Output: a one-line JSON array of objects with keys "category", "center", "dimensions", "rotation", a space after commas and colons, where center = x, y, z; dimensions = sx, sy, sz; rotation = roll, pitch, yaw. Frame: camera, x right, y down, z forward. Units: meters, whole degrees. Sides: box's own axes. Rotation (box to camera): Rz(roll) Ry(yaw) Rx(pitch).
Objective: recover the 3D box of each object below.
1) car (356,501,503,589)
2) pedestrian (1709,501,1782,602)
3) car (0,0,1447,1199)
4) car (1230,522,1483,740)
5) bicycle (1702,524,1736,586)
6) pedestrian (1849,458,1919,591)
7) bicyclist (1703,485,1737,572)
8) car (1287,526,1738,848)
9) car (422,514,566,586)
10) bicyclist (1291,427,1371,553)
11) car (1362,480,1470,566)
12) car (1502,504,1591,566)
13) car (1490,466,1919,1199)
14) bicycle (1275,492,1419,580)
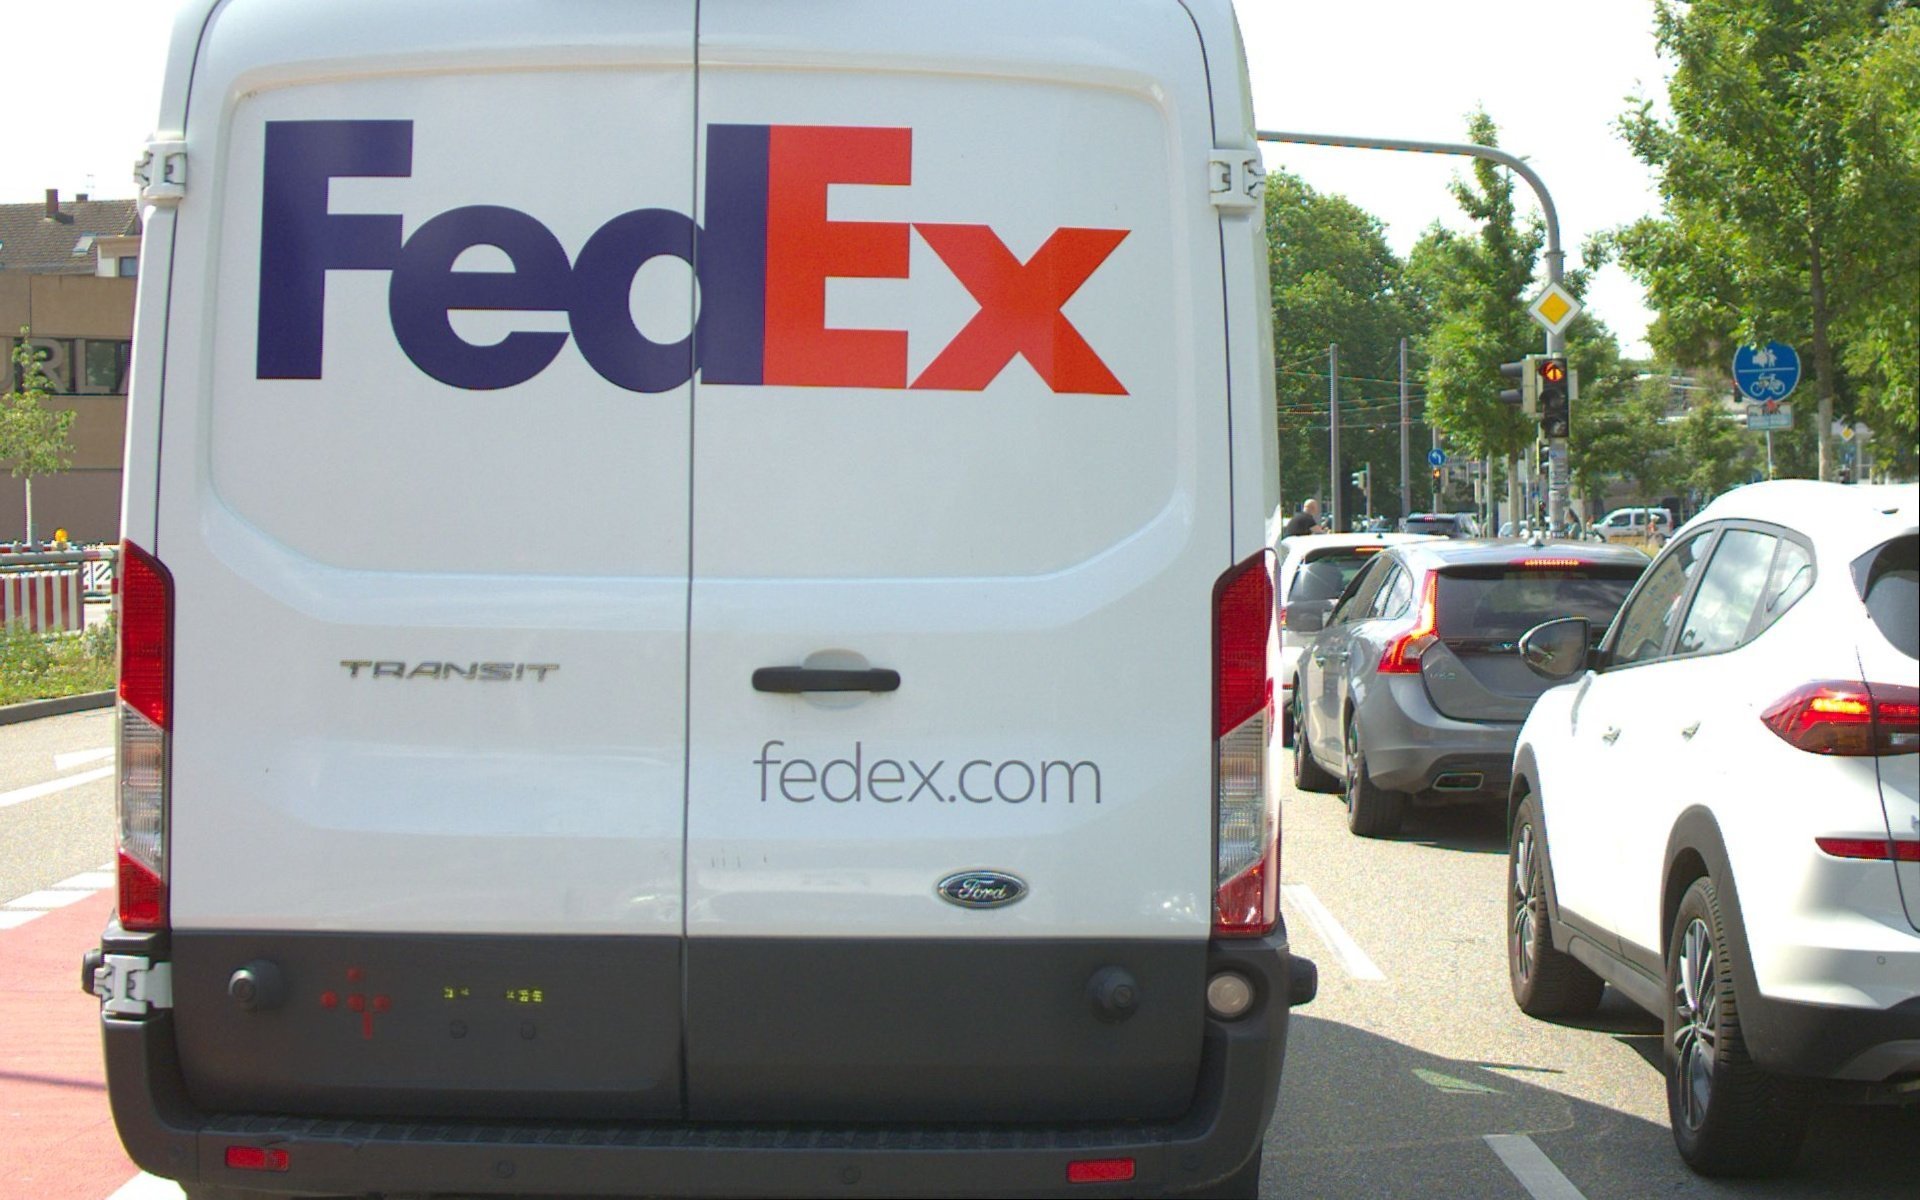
[{"category": "car", "center": [-12.409, -1.290, 80.661], "dimensions": [1.995, 2.007, 3.998], "rotation": [0, 1, 14]}, {"category": "pedestrian", "center": [10.879, -0.676, 47.633], "dimensions": [0.845, 1.384, 0.741], "rotation": [-1, 1, -1]}, {"category": "car", "center": [-0.473, 0.018, 7.955], "dimensions": [2.140, 2.643, 5.705], "rotation": [0, 1, -3]}, {"category": "car", "center": [2.771, 0.170, 24.565], "dimensions": [1.484, 1.423, 3.433], "rotation": [0, 2, 1]}, {"category": "bicycle", "center": [12.928, -0.771, 58.565], "dimensions": [0.546, 1.027, 1.926], "rotation": [0, 2, 12]}, {"category": "pedestrian", "center": [14.412, -1.182, 53.503], "dimensions": [0.845, 2.051, 0.741], "rotation": [-1, 2, -29]}, {"category": "bicyclist", "center": [12.931, -1.219, 58.511], "dimensions": [0.550, 1.469, 0.970], "rotation": [0, 1, 12]}, {"category": "car", "center": [2.733, 0.364, 17.792], "dimensions": [1.798, 1.456, 3.838], "rotation": [0, 2, 1]}, {"category": "car", "center": [-10.594, -1.130, 78.348], "dimensions": [1.902, 1.579, 3.998], "rotation": [0, 1, 14]}, {"category": "bicyclist", "center": [5.475, -1.622, 50.719], "dimensions": [1.119, 1.838, 0.593], "rotation": [0, 2, 2]}, {"category": "car", "center": [11.172, -1.866, 84.045], "dimensions": [2.094, 2.007, 4.641], "rotation": [0, 1, 14]}, {"category": "car", "center": [17.570, -1.930, 102.868], "dimensions": [1.995, 1.787, 4.368], "rotation": [0, 1, 18]}, {"category": "car", "center": [2.572, 0.504, 9.128], "dimensions": [1.798, 1.681, 4.000], "rotation": [0, 2, 1]}, {"category": "bicycle", "center": [5.707, -0.945, 50.718], "dimensions": [2.064, 1.285, 0.604], "rotation": [0, 1, 2]}]
